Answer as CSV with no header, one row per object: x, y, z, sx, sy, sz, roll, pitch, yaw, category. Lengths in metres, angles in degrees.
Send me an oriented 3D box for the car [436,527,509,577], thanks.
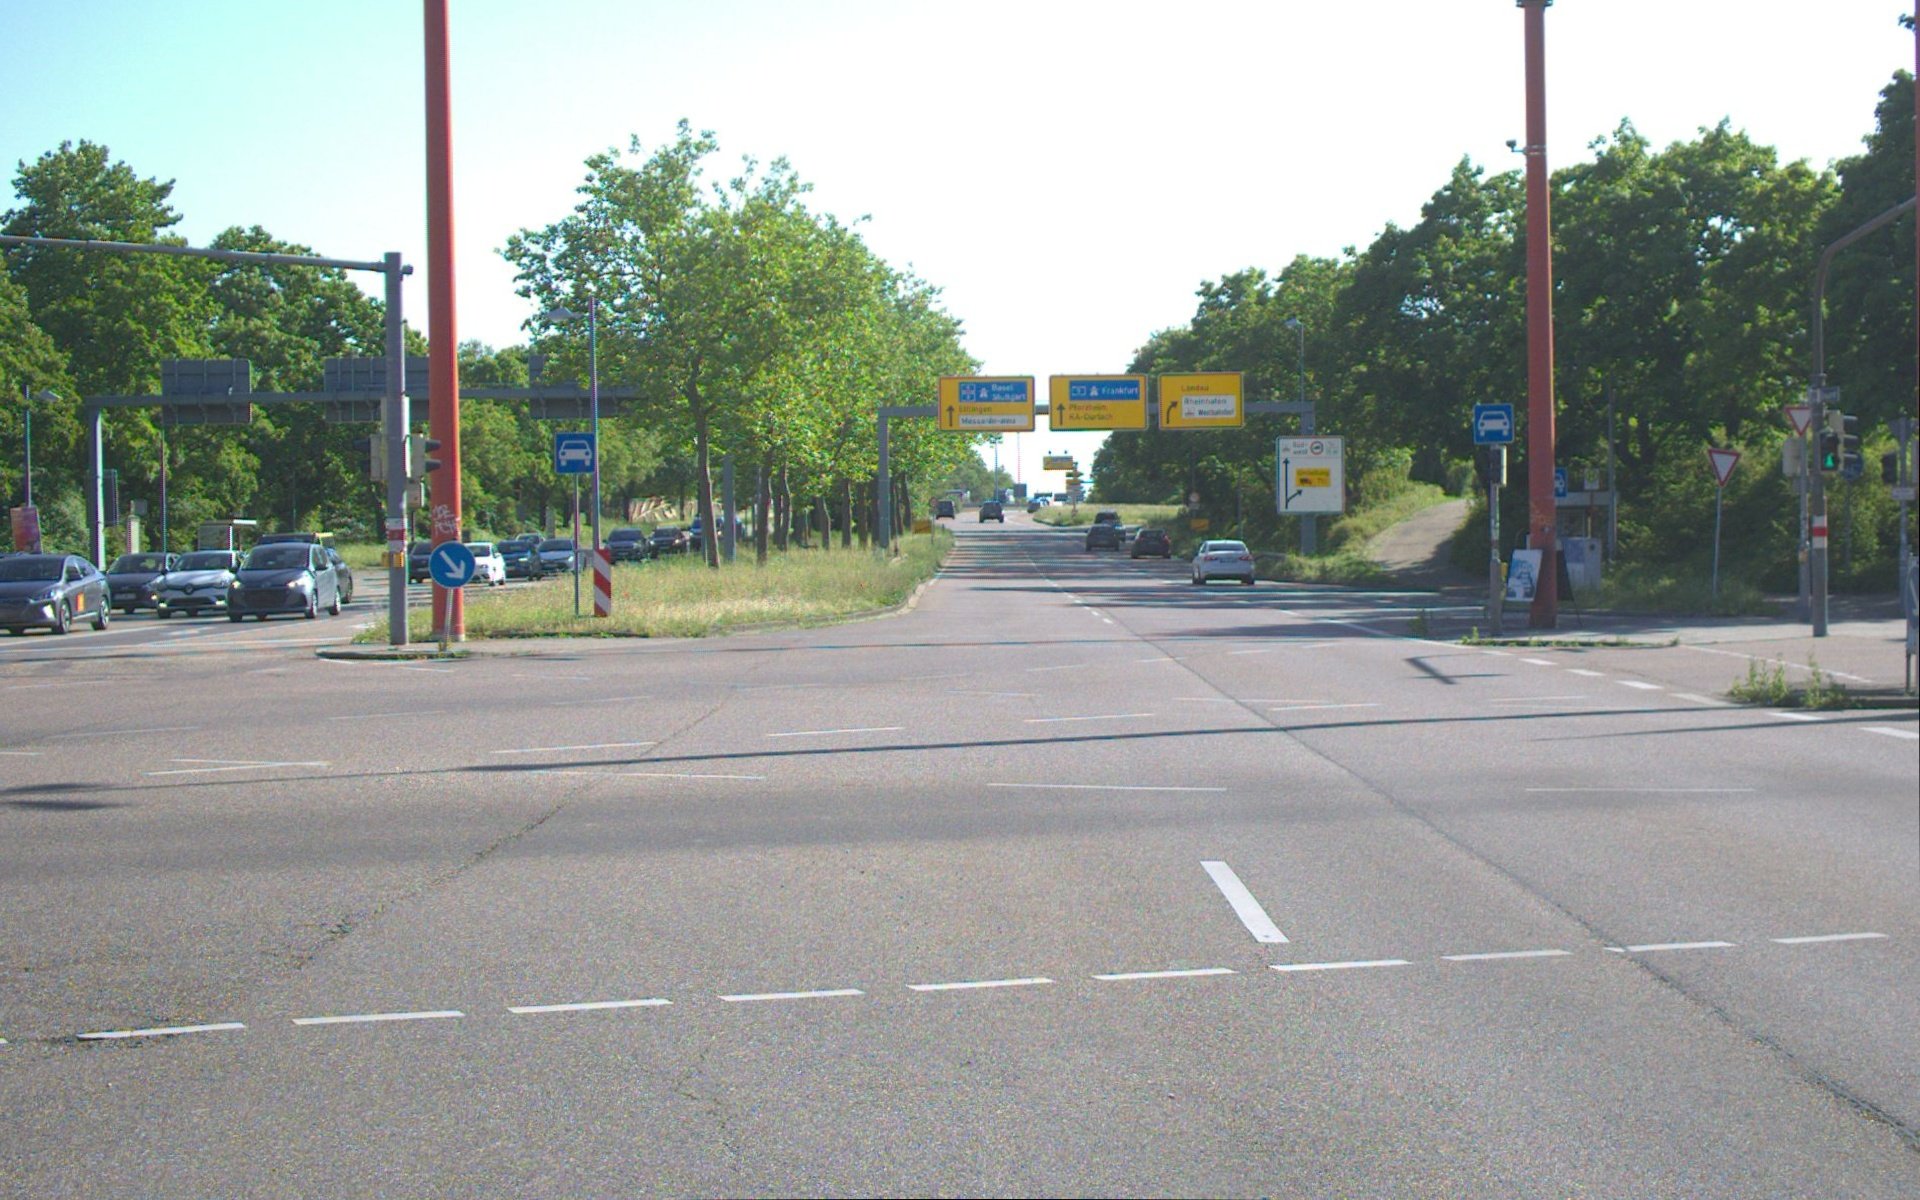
-15.977,-1.575,112.822,1.704,1.590,4.000,0,1,2,car

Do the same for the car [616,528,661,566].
-14.920,-2.480,159.568,1.625,1.733,4.000,0,1,1,car

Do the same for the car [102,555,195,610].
-19.507,-0.437,82.771,1.453,1.269,3.613,0,1,-1,car

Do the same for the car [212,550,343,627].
-13.419,-0.240,67.782,1.701,1.416,4.000,2,1,1,car

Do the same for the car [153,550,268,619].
-16.489,-0.367,75.790,1.605,1.454,3.950,-1,1,1,car

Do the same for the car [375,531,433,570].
-20.856,-1.847,129.046,1.628,1.445,3.434,0,1,0,car

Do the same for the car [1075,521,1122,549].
7.573,-3.550,187.940,1.993,1.491,4.001,-1,1,-6,car

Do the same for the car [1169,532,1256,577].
7.965,-1.445,108.763,2.054,1.366,4.393,-1,1,-5,car

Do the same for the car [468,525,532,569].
-16.613,-1.910,124.312,1.704,1.553,3.803,0,1,1,car

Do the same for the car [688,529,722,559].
-14.700,-3.215,198.028,1.608,1.724,3.789,0,1,1,car

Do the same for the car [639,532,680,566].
-15.517,-2.626,177.645,1.657,1.741,4.000,0,1,2,car

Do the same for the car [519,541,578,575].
-16.251,-1.664,135.952,2.003,1.303,4.001,-1,1,-2,car

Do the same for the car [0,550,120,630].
-16.584,-0.211,62.510,1.548,1.372,4.263,-1,1,0,car

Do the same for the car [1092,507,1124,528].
11.268,-6.260,261.797,1.994,1.535,3.999,0,1,8,car

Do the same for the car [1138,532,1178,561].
9.432,-2.565,164.169,1.738,1.337,3.081,-1,1,1,car

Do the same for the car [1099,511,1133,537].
9.629,-4.675,212.617,1.993,1.535,4.000,0,1,1,car

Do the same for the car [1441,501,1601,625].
8.889,-0.601,54.236,1.995,1.881,3.997,0,1,17,car

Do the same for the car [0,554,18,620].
-21.562,-0.262,73.761,1.544,1.428,3.886,-2,1,1,car
